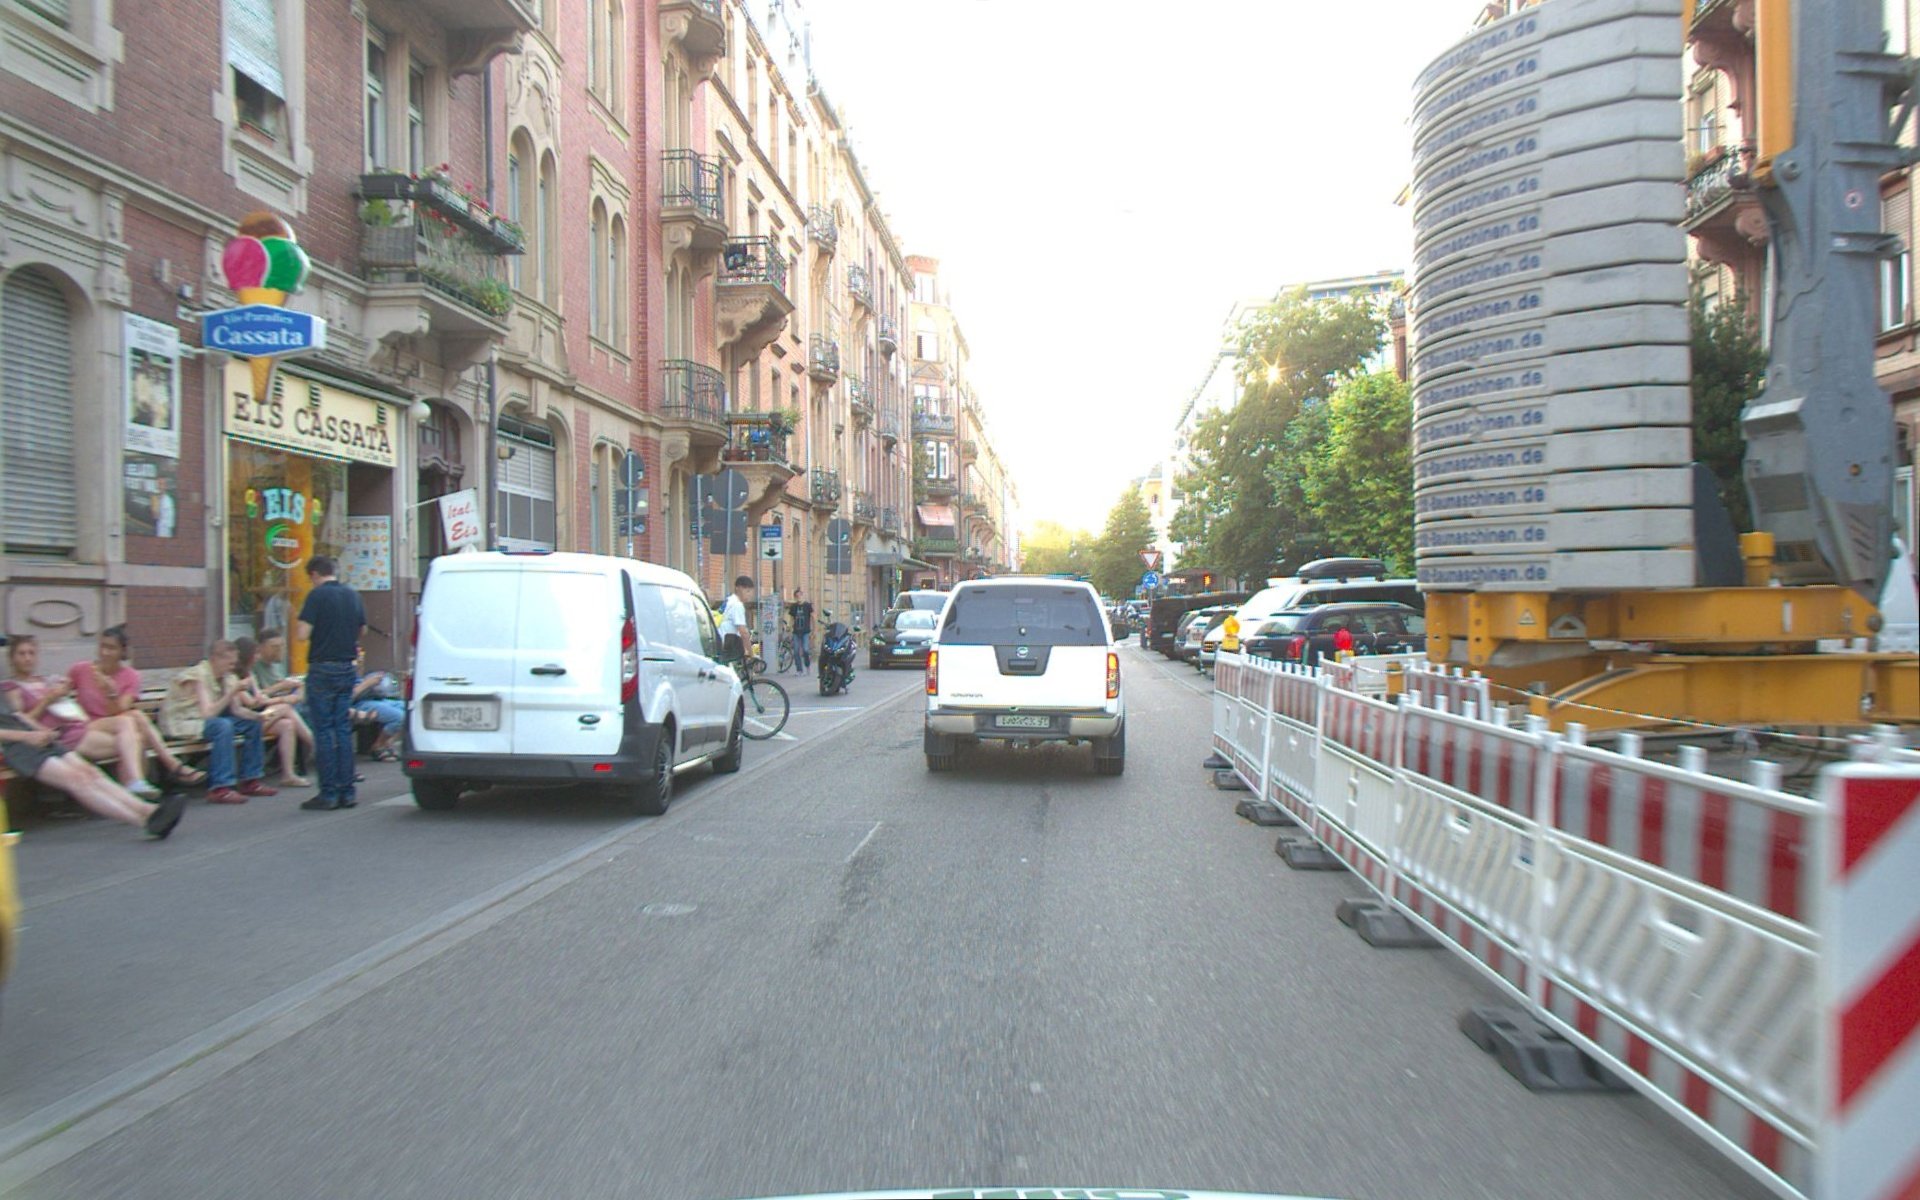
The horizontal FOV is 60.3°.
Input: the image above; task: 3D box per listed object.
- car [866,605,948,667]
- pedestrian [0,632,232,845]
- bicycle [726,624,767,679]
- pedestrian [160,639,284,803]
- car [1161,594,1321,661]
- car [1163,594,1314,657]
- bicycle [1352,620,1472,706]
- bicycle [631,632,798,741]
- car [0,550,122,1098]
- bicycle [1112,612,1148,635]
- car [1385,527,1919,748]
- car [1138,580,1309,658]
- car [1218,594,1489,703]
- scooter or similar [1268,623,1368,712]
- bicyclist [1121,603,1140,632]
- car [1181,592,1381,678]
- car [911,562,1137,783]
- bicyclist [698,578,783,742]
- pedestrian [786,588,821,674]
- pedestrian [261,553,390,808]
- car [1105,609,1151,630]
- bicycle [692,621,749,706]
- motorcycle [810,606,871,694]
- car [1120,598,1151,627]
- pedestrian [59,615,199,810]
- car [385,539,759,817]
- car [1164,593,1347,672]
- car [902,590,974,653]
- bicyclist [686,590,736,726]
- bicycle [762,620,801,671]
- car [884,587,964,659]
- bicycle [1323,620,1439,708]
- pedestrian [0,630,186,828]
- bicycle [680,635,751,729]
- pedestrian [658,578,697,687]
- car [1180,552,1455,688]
[{"bbox_3d":[-1.283,0.884,41.835,1.799,1.497,4.173,0,0,2],"label":"car"},{"bbox_3d":[-5.333,0.816,10.029,1.529,1.224,0.642,1,-1,2],"label":"pedestrian"},{"bbox_3d":[-4.224,1.010,32.820,0.438,1.048,1.741,1,-1,5],"label":"bicycle"},{"bbox_3d":[-5.412,0.871,12.147,0.618,1.160,0.573,1,-1,2],"label":"pedestrian"},{"bbox_3d":[7.743,0.744,45.566,4.049,1.579,1.802,-3,0,-28],"label":"car"},{"bbox_3d":[8.117,0.725,48.228,4.049,1.579,1.802,-3,0,-28],"label":"car"},{"bbox_3d":[6.419,0.875,23.557,0.490,1.156,1.796,-2,1,-30],"label":"bicycle"},{"bbox_3d":[-2.715,0.950,18.289,1.749,1.175,0.518,1,-1,-18],"label":"bicycle"},{"bbox_3d":[-3.681,0.632,3.456,1.669,1.557,3.795,0,0,5],"label":"car"},{"bbox_3d":[8.959,1.249,87.222,1.899,1.192,0.593,0,-1,40],"label":"bicycle"},{"bbox_3d":[7.361,0.373,17.762,5.065,1.989,1.900,-3,0,3],"label":"car"},{"bbox_3d":[8.253,0.567,51.567,5.374,2.108,1.910,-3,0,-35],"label":"car"},{"bbox_3d":[6.181,0.722,26.007,3.802,1.542,1.835,-1,0,-23],"label":"car"},{"bbox_3d":[5.005,0.925,23.193,0.645,1.170,1.475,-2,0,-20],"label":"scooter or similar"},{"bbox_3d":[8.988,0.925,87.213,0.857,1.492,0.573,0,-1,40],"label":"bicyclist"},{"bbox_3d":[7.192,0.753,37.064,4.105,1.618,1.869,-3,1,-27],"label":"car"},{"bbox_3d":[0.735,0.647,16.538,1.897,1.842,5.003,1,-1,4],"label":"car"},{"bbox_3d":[-2.375,0.644,17.938,0.770,1.733,0.529,1,-1,10],"label":"bicyclist"},{"bbox_3d":[-3.423,0.678,36.233,0.668,1.842,0.961,1,-1,-2],"label":"pedestrian"},{"bbox_3d":[-4.519,0.557,11.798,0.607,1.760,0.584,0,-1,32],"label":"pedestrian"},{"bbox_3d":[14.682,1.696,144.464,3.903,1.780,1.841,1,-1,3],"label":"car"},{"bbox_3d":[-3.450,0.899,23.942,0.403,1.180,1.838,1,-1,5],"label":"bicycle"},{"bbox_3d":[-2.016,0.842,28.243,0.670,1.429,2.015,1,-1,6],"label":"motorcycle"},{"bbox_3d":[11.980,0.871,113.234,1.902,1.967,4.001,1,-1,3],"label":"car"},{"bbox_3d":[-5.609,0.743,11.190,0.606,1.273,0.585,1,-1,2],"label":"pedestrian"},{"bbox_3d":[-2.844,0.545,13.224,1.733,1.820,4.588,0,-1,2],"label":"car"},{"bbox_3d":[7.153,0.761,39.994,4.048,1.618,1.802,-3,0,-27],"label":"car"},{"bbox_3d":[-0.654,0.688,53.769,2.065,1.955,5.027,0,0,2],"label":"car"},{"bbox_3d":[-3.012,0.694,20.004,0.456,1.618,0.487,1,-1,7],"label":"bicyclist"},{"bbox_3d":[-4.051,1.020,37.589,0.735,1.120,2.024,1,-1,-3],"label":"bicycle"},{"bbox_3d":[-0.981,0.639,47.623,1.798,1.955,4.848,0,0,5],"label":"car"},{"bbox_3d":[5.887,0.873,23.232,0.489,1.156,1.798,-2,1,-27],"label":"bicycle"},{"bbox_3d":[-5.614,0.811,10.626,1.017,1.224,0.503,1,-1,2],"label":"pedestrian"},{"bbox_3d":[-2.989,0.982,20.289,0.456,1.087,1.521,1,-1,7],"label":"bicycle"},{"bbox_3d":[-4.781,0.550,28.049,0.453,1.821,0.642,1,-1,7],"label":"pedestrian"},{"bbox_3d":[6.816,0.345,31.539,4.855,2.404,1.986,-1,0,-23],"label":"car"}]
